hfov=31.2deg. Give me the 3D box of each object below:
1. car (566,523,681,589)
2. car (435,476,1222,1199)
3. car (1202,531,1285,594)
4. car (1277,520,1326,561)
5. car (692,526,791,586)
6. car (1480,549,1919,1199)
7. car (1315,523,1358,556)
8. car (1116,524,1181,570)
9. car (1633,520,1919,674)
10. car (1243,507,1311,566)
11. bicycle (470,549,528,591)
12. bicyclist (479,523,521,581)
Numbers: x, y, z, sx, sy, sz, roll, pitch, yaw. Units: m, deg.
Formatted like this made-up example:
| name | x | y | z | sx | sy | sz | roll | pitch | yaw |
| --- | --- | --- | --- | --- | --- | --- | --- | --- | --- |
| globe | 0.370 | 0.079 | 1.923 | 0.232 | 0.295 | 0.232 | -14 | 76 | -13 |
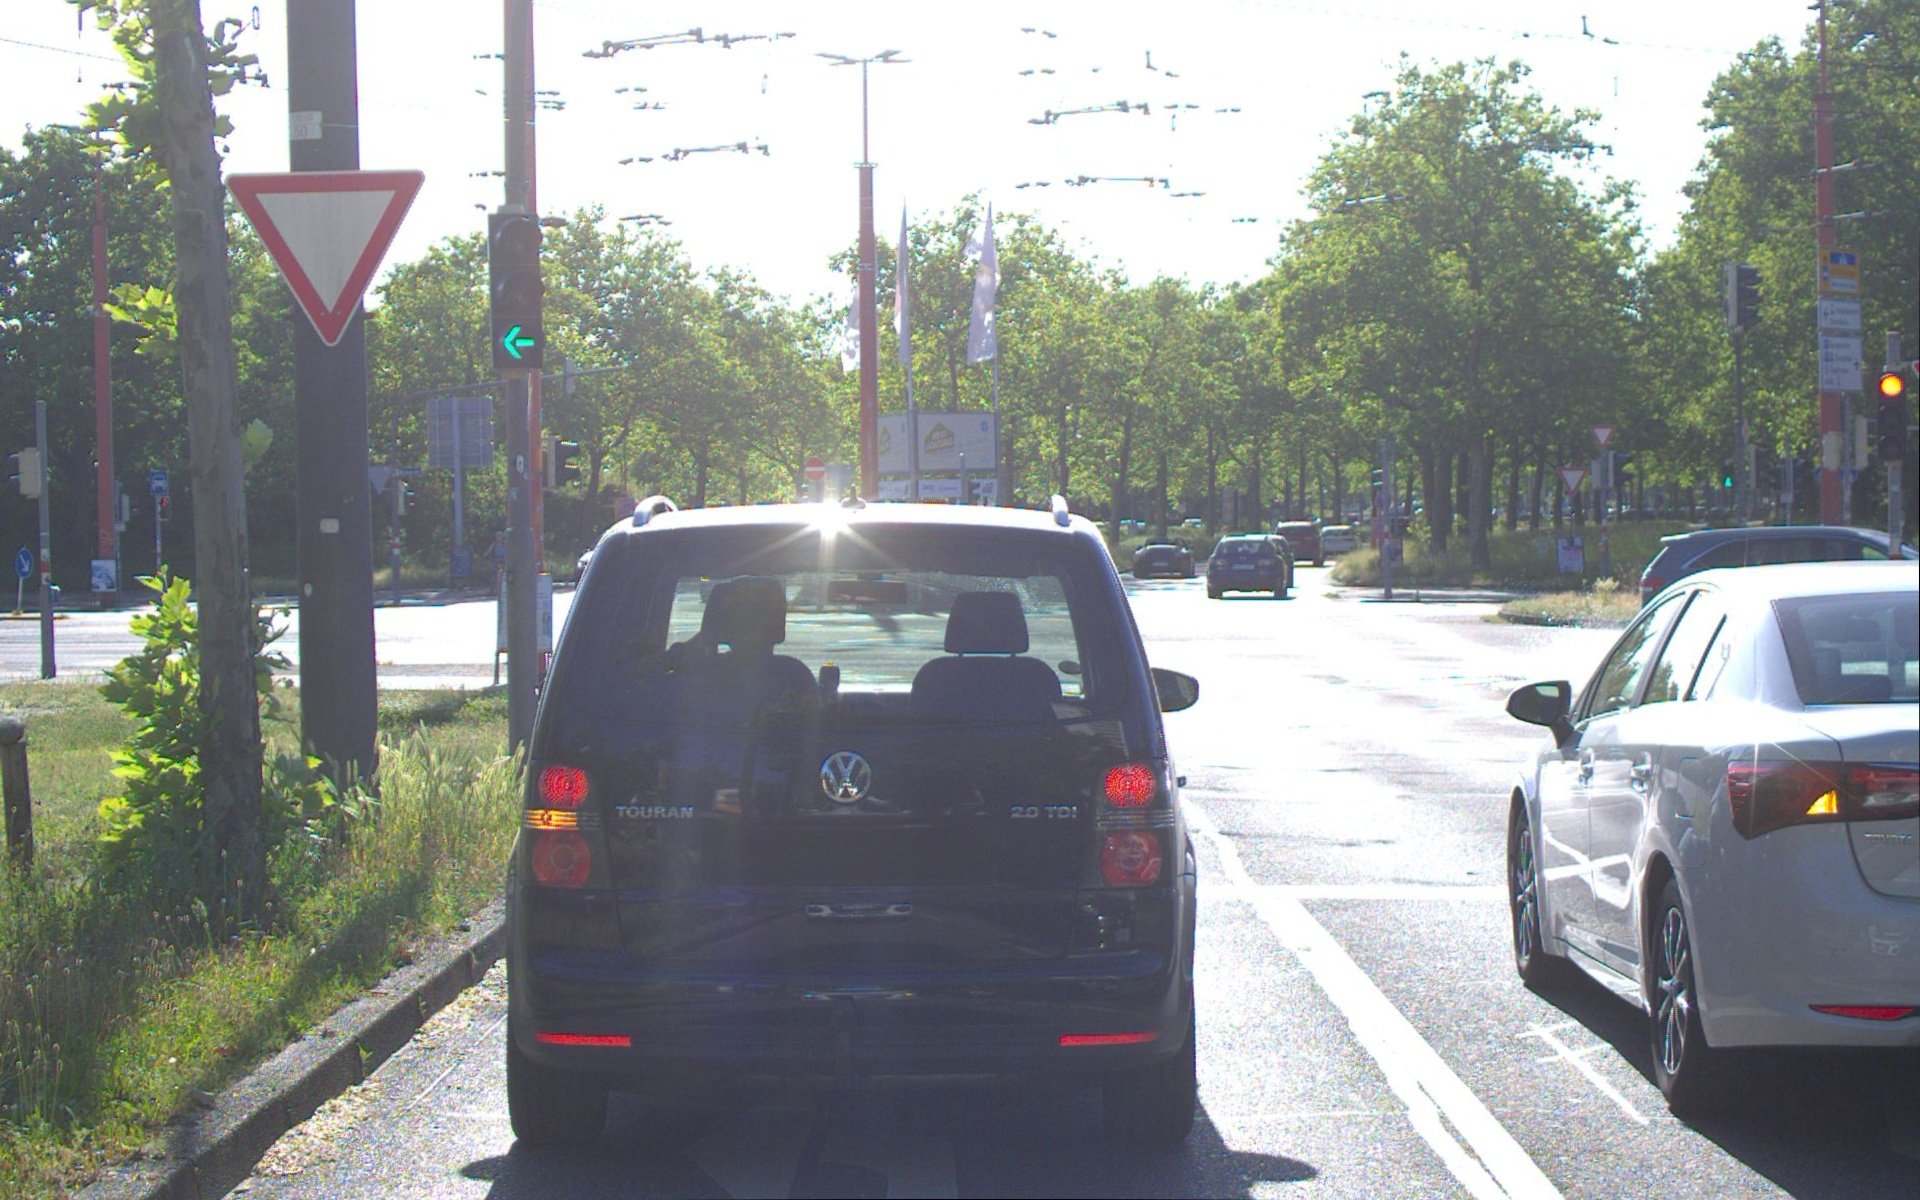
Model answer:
| name | x | y | z | sx | sy | sz | roll | pitch | yaw |
| --- | --- | --- | --- | --- | --- | --- | --- | --- | --- |
| car | -9.114 | -1.212 | 93.502 | 1.903 | 1.720 | 4.652 | 0 | 1 | 10 |
| car | -0.305 | 0.486 | 10.238 | 1.767 | 1.638 | 4.924 | 0 | 1 | 0 |
| car | 6.581 | -0.898 | 80.046 | 1.790 | 1.383 | 4.049 | 0 | 2 | 3 |
| car | 12.820 | -2.252 | 129.082 | 1.790 | 1.497 | 4.049 | 1 | 2 | 6 |
| car | -5.778 | -1.175 | 91.388 | 1.768 | 1.533 | 4.090 | 0 | 1 | 9 |
| car | 2.712 | 0.607 | 10.135 | 1.767 | 1.459 | 4.366 | 0 | 1 | 1 |
| car | 16.277 | -2.634 | 148.655 | 1.790 | 1.383 | 4.049 | 1 | 2 | 6 |
| car | 6.090 | -1.721 | 110.605 | 1.790 | 1.383 | 4.049 | 1 | 2 | 7 |
| car | 10.248 | -0.052 | 39.160 | 4.685 | 1.698 | 1.997 | 0 | 1 | 27 |
| car | 9.090 | -1.796 | 98.622 | 1.873 | 1.621 | 3.999 | 1 | 1 | 5 |
| bicycle | -12.637 | -0.833 | 94.264 | 0.764 | 1.087 | 2.014 | -1 | 2 | 17 |
| bicyclist | -12.626 | -1.310 | 94.329 | 0.759 | 1.552 | 0.980 | -1 | 2 | 17 |
